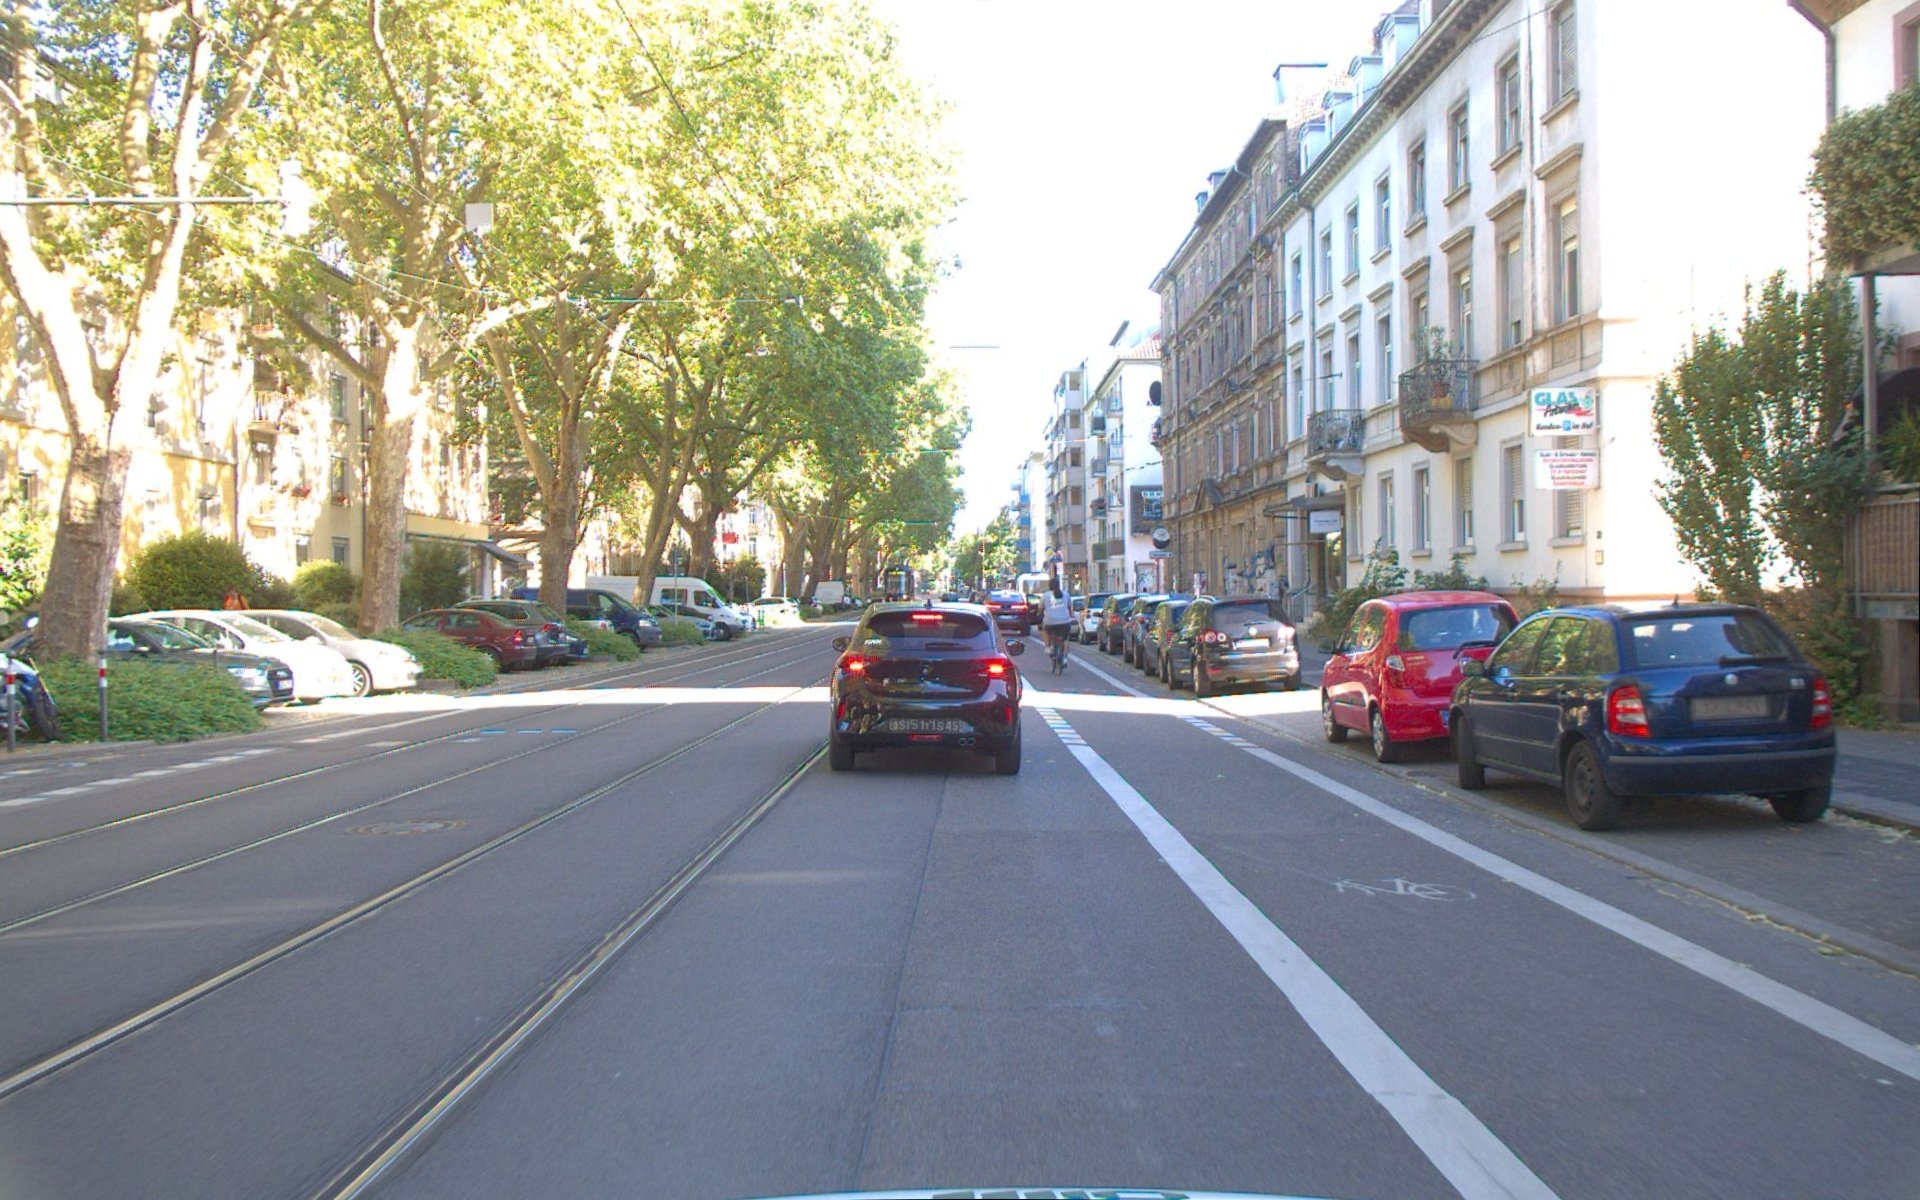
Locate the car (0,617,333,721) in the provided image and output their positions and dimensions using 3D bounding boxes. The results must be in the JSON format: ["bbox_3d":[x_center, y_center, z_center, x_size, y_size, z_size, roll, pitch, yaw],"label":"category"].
[{"bbox_3d":[-11.266,0.965,23.662,3.839,1.355,1.847,1,0,0],"label":"car"}]

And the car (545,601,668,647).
[{"bbox_3d":[-11.596,0.779,54.386,3.658,1.455,1.637,1,0,-1],"label":"car"}]

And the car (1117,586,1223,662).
[{"bbox_3d":[4.667,0.506,37.252,1.842,1.481,4.026,-4,0,1],"label":"car"}]

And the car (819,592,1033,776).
[{"bbox_3d":[-0.293,0.686,15.408,1.757,1.466,3.531,0,1,-1],"label":"car"}]

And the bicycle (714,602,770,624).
[{"bbox_3d":[-11.886,0.693,90.239,2.880,1.190,0.991,0,0,16],"label":"bicycle"}]

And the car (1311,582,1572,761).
[{"bbox_3d":[4.726,0.642,16.721,1.601,1.573,3.576,-2,0,1],"label":"car"}]

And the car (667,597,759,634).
[{"bbox_3d":[-10.934,0.682,73.417,3.842,1.524,1.676,1,0,-3],"label":"car"}]

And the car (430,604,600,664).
[{"bbox_3d":[-11.330,0.846,42.259,3.841,1.446,1.818,1,0,-2],"label":"car"}]

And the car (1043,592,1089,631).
[{"bbox_3d":[4.340,0.453,68.156,1.628,1.444,3.933,-4,0,1],"label":"car"}]

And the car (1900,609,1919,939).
[{"bbox_3d":[4.889,0.724,4.913,1.659,1.417,4.495,-2,0,1],"label":"car"}]

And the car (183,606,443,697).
[{"bbox_3d":[-11.288,0.887,29.041,3.839,1.488,1.805,-1,0,0],"label":"car"}]

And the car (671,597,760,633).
[{"bbox_3d":[-11.186,0.680,75.875,3.842,1.605,1.676,1,0,-3],"label":"car"}]

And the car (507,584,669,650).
[{"bbox_3d":[-11.572,0.533,51.684,4.579,1.957,1.980,1,0,1],"label":"car"}]

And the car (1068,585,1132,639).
[{"bbox_3d":[4.379,0.383,52.092,1.536,1.543,3.039,-4,0,-3],"label":"car"}]

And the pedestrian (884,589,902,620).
[{"bbox_3d":[-3.443,0.248,85.069,0.664,1.594,0.769,0,0,18],"label":"pedestrian"}]

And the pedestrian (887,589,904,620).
[{"bbox_3d":[-3.326,0.246,85.885,0.664,1.594,0.769,0,0,18],"label":"pedestrian"}]

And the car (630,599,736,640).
[{"bbox_3d":[-10.760,0.761,64.402,3.840,1.524,1.677,1,0,-1],"label":"car"}]

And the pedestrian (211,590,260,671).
[{"bbox_3d":[-16.985,0.701,38.779,0.848,1.882,0.836,0,0,-8],"label":"pedestrian"}]

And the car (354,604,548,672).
[{"bbox_3d":[-11.512,0.846,37.598,3.839,1.467,1.749,1,0,0],"label":"car"}]

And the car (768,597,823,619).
[{"bbox_3d":[-11.817,0.585,118.860,3.842,1.524,1.676,1,0,-3],"label":"car"}]

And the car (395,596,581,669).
[{"bbox_3d":[-11.310,0.776,39.855,3.913,1.655,1.879,1,0,-1],"label":"car"}]

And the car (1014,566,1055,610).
[{"bbox_3d":[4.232,-0.676,94.746,2.033,2.257,4.934,-4,0,1],"label":"car"}]

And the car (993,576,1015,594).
[{"bbox_3d":[3.873,-1.302,145.327,1.773,1.361,3.933,-4,0,1],"label":"car"}]

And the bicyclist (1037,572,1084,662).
[{"bbox_3d":[2.010,0.338,33.277,0.831,1.770,1.161,0,0,-2],"label":"bicyclist"}]

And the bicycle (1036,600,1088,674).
[{"bbox_3d":[2.028,0.712,33.213,0.843,1.431,2.523,0,0,-1],"label":"bicycle"}]

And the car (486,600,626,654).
[{"bbox_3d":[-11.872,0.786,48.752,3.658,1.524,1.746,1,0,-1],"label":"car"}]

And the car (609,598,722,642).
[{"bbox_3d":[-10.857,0.724,61.107,3.839,1.524,1.677,1,0,1],"label":"car"}]

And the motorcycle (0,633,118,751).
[{"bbox_3d":[-10.246,0.971,17.836,0.865,1.167,2.392,0,0,7],"label":"motorcycle"}]

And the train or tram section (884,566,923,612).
[{"bbox_3d":[-4.868,-0.912,144.692,2.678,3.746,12.717,-1,0,1],"label":"train or tram section"}]

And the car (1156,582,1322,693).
[{"bbox_3d":[4.637,0.596,28.041,1.843,1.613,3.930,-4,0,-3],"label":"car"}]

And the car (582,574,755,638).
[{"bbox_3d":[-11.702,0.241,66.780,6.492,2.451,2.458,1,0,0],"label":"car"}]

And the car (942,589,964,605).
[{"bbox_3d":[-0.606,-0.222,144.193,1.772,1.361,3.933,0,0,1],"label":"car"}]

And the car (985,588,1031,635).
[{"bbox_3d":[1.887,0.435,65.728,1.772,1.772,3.933,-1,0,1],"label":"car"}]

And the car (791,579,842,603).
[{"bbox_3d":[-11.143,-0.683,128.217,3.842,1.821,1.676,1,0,-3],"label":"car"}]

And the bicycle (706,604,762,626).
[{"bbox_3d":[-12.171,0.795,89.101,2.880,1.190,0.991,0,0,16],"label":"bicycle"}]

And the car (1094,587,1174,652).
[{"bbox_3d":[4.517,0.491,43.412,1.676,1.509,3.764,-4,0,1],"label":"car"}]

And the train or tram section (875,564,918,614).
[{"bbox_3d":[-4.991,-0.863,131.921,2.678,3.746,12.717,-1,0,1],"label":"train or tram section"}]

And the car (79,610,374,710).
[{"bbox_3d":[-11.509,0.916,26.151,3.841,1.478,1.800,-1,0,-1],"label":"car"}]

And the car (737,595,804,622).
[{"bbox_3d":[-11.181,0.524,97.787,3.842,1.524,1.676,1,0,-3],"label":"car"}]

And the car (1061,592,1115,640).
[{"bbox_3d":[4.385,0.528,57.150,1.669,1.481,3.698,-4,0,3],"label":"car"}]

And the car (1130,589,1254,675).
[{"bbox_3d":[4.496,0.594,32.583,1.762,1.481,3.767,-4,0,-1],"label":"car"}]

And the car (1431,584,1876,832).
[{"bbox_3d":[4.856,0.670,12.205,1.617,1.481,3.868,-2,0,0],"label":"car"}]
